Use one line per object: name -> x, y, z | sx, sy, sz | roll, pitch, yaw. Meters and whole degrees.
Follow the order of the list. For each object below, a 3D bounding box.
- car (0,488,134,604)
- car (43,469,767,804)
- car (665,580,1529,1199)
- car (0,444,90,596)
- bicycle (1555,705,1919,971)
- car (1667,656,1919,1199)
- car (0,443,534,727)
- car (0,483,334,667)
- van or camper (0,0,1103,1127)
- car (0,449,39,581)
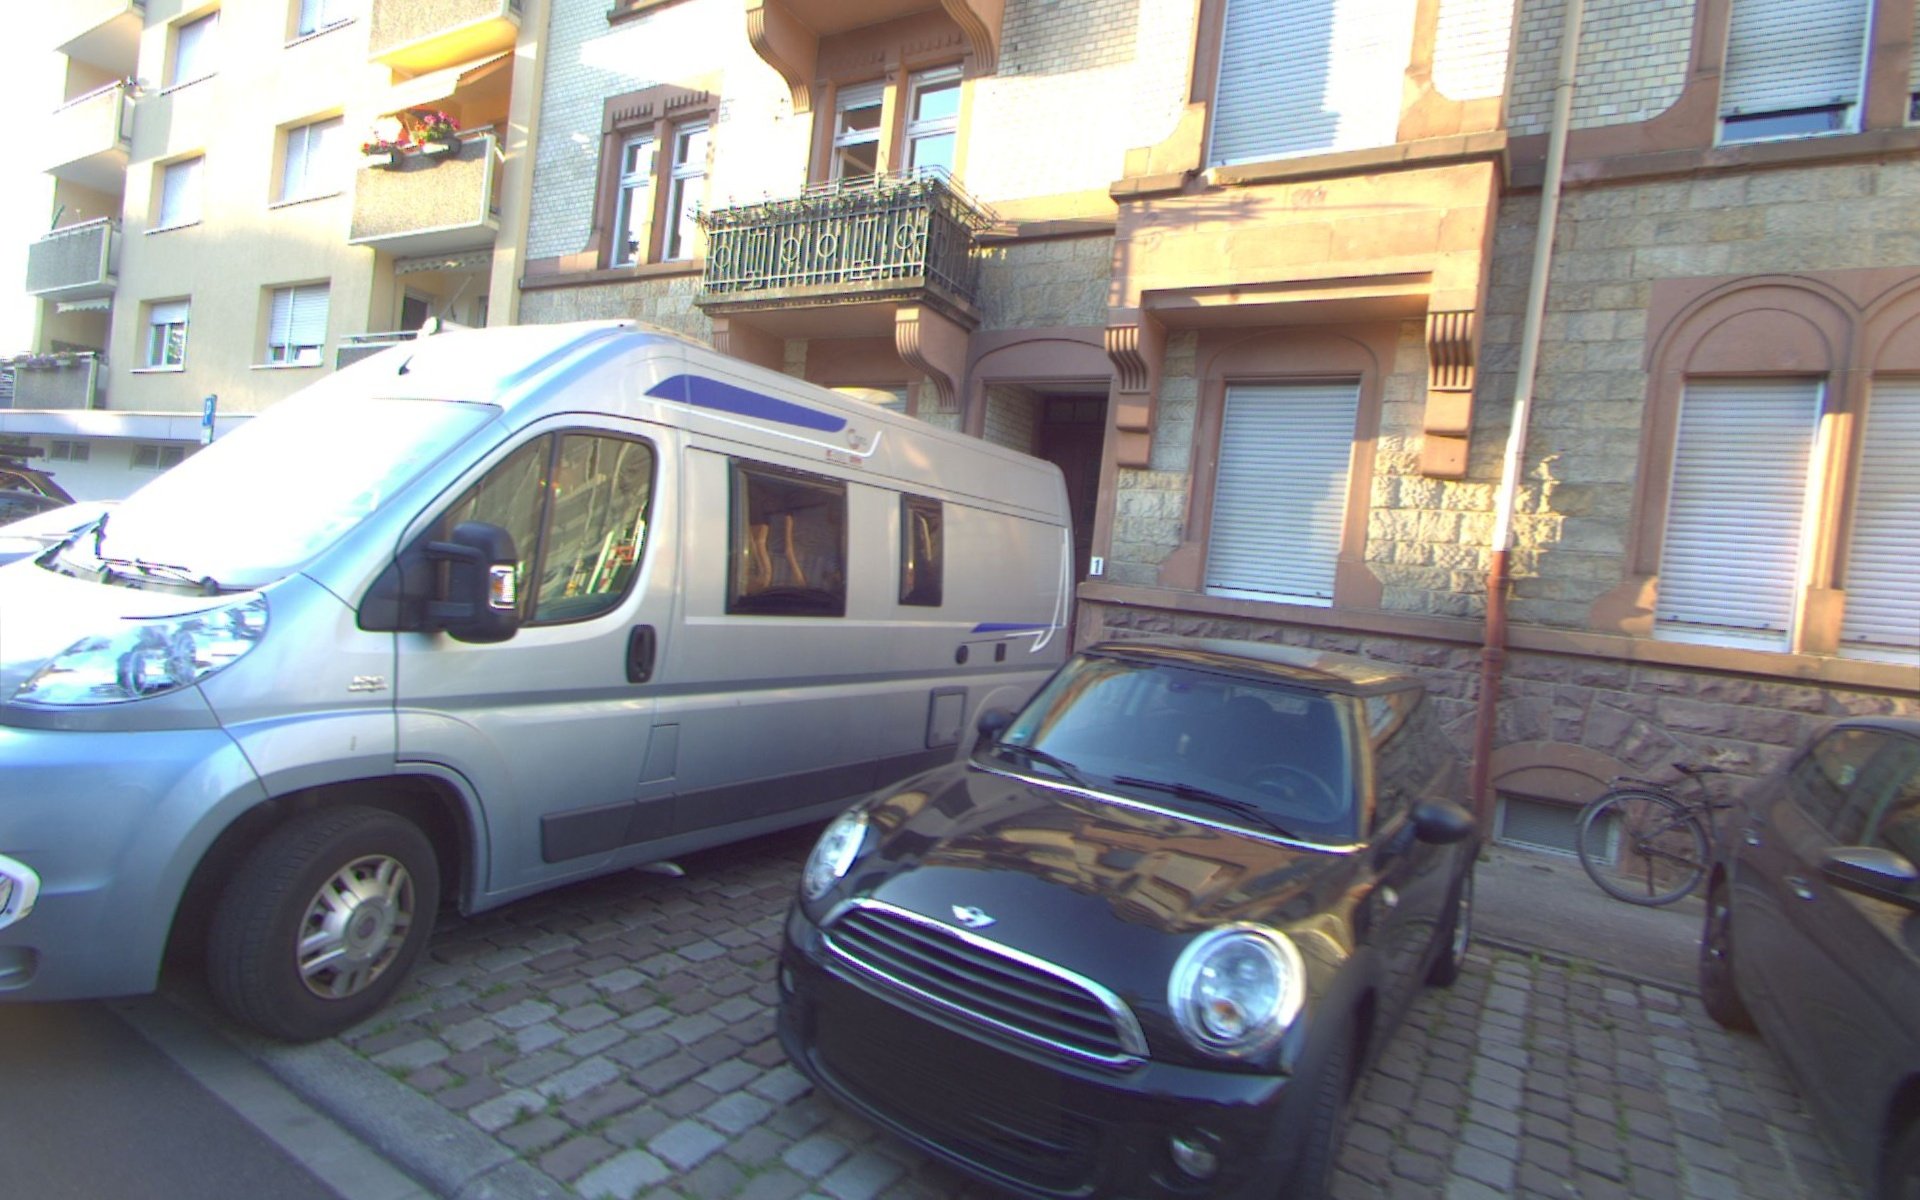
car -> -13.559, -0.834, 12.882 | 1.690, 1.444, 4.239 | 7, 1, 31
car -> -3.554, 0.229, 7.488 | 1.741, 1.616, 4.443 | 7, 1, 25
car -> 1.028, 0.826, 3.930 | 1.758, 1.505, 3.934 | 5, 1, 33
car -> -15.749, -1.439, 14.209 | 1.966, 2.171, 4.715 | 7, -1, 30
bicycle -> 4.839, 1.382, 6.042 | 1.999, 1.183, 0.632 | 7, 0, 26
car -> 3.549, 1.105, 2.713 | 1.984, 1.536, 3.991 | 7, 2, 27
car -> -5.936, -0.106, 8.125 | 1.741, 1.750, 4.443 | 7, 1, 25
car -> -8.271, -0.269, 9.134 | 1.803, 1.473, 3.990 | 7, 2, 27
van or camper -> -1.513, -0.076, 5.146 | 2.074, 2.802, 5.940 | 7, -1, 30
car -> -17.908, -1.699, 15.686 | 1.966, 2.171, 4.715 | 7, -1, 30
